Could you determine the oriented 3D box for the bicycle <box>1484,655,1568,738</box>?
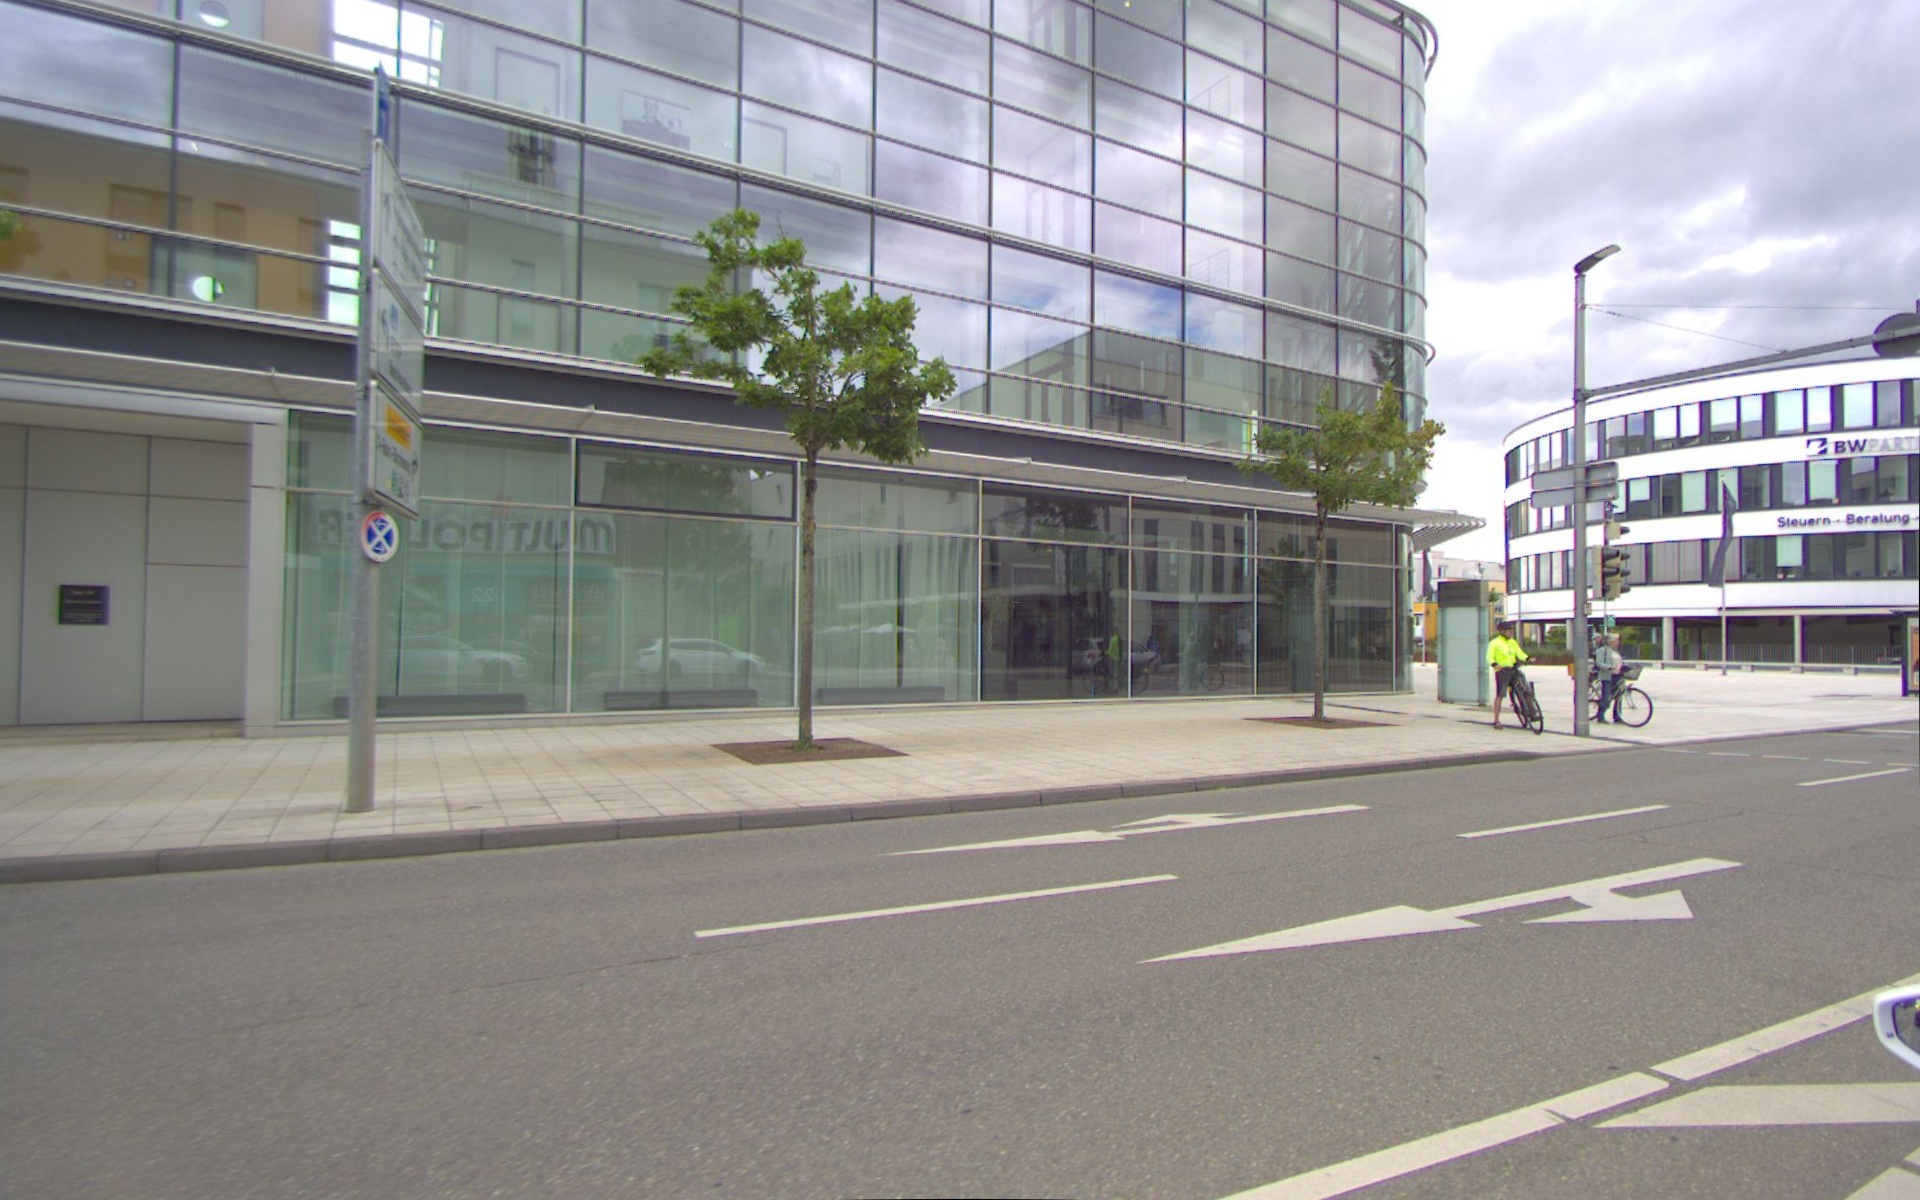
[{"bbox_3d":[9.725,1.622,17.350,0.732,1.222,2.032,1,0,14],"label":"bicycle"}]

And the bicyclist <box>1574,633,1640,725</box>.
[{"bbox_3d":[12.140,1.469,18.864,0.627,1.671,0.782,1,0,-14],"label":"bicyclist"}]

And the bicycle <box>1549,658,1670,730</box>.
[{"bbox_3d":[12.124,1.728,18.828,0.627,1.145,2.000,1,0,-14],"label":"bicycle"}]

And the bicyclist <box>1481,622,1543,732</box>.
[{"bbox_3d":[9.545,1.302,17.396,0.732,1.824,0.774,1,0,14],"label":"bicyclist"}]

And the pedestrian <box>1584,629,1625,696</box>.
[{"bbox_3d":[19.343,1.867,30.157,0.885,1.971,0.750,1,-1,22],"label":"pedestrian"}]
